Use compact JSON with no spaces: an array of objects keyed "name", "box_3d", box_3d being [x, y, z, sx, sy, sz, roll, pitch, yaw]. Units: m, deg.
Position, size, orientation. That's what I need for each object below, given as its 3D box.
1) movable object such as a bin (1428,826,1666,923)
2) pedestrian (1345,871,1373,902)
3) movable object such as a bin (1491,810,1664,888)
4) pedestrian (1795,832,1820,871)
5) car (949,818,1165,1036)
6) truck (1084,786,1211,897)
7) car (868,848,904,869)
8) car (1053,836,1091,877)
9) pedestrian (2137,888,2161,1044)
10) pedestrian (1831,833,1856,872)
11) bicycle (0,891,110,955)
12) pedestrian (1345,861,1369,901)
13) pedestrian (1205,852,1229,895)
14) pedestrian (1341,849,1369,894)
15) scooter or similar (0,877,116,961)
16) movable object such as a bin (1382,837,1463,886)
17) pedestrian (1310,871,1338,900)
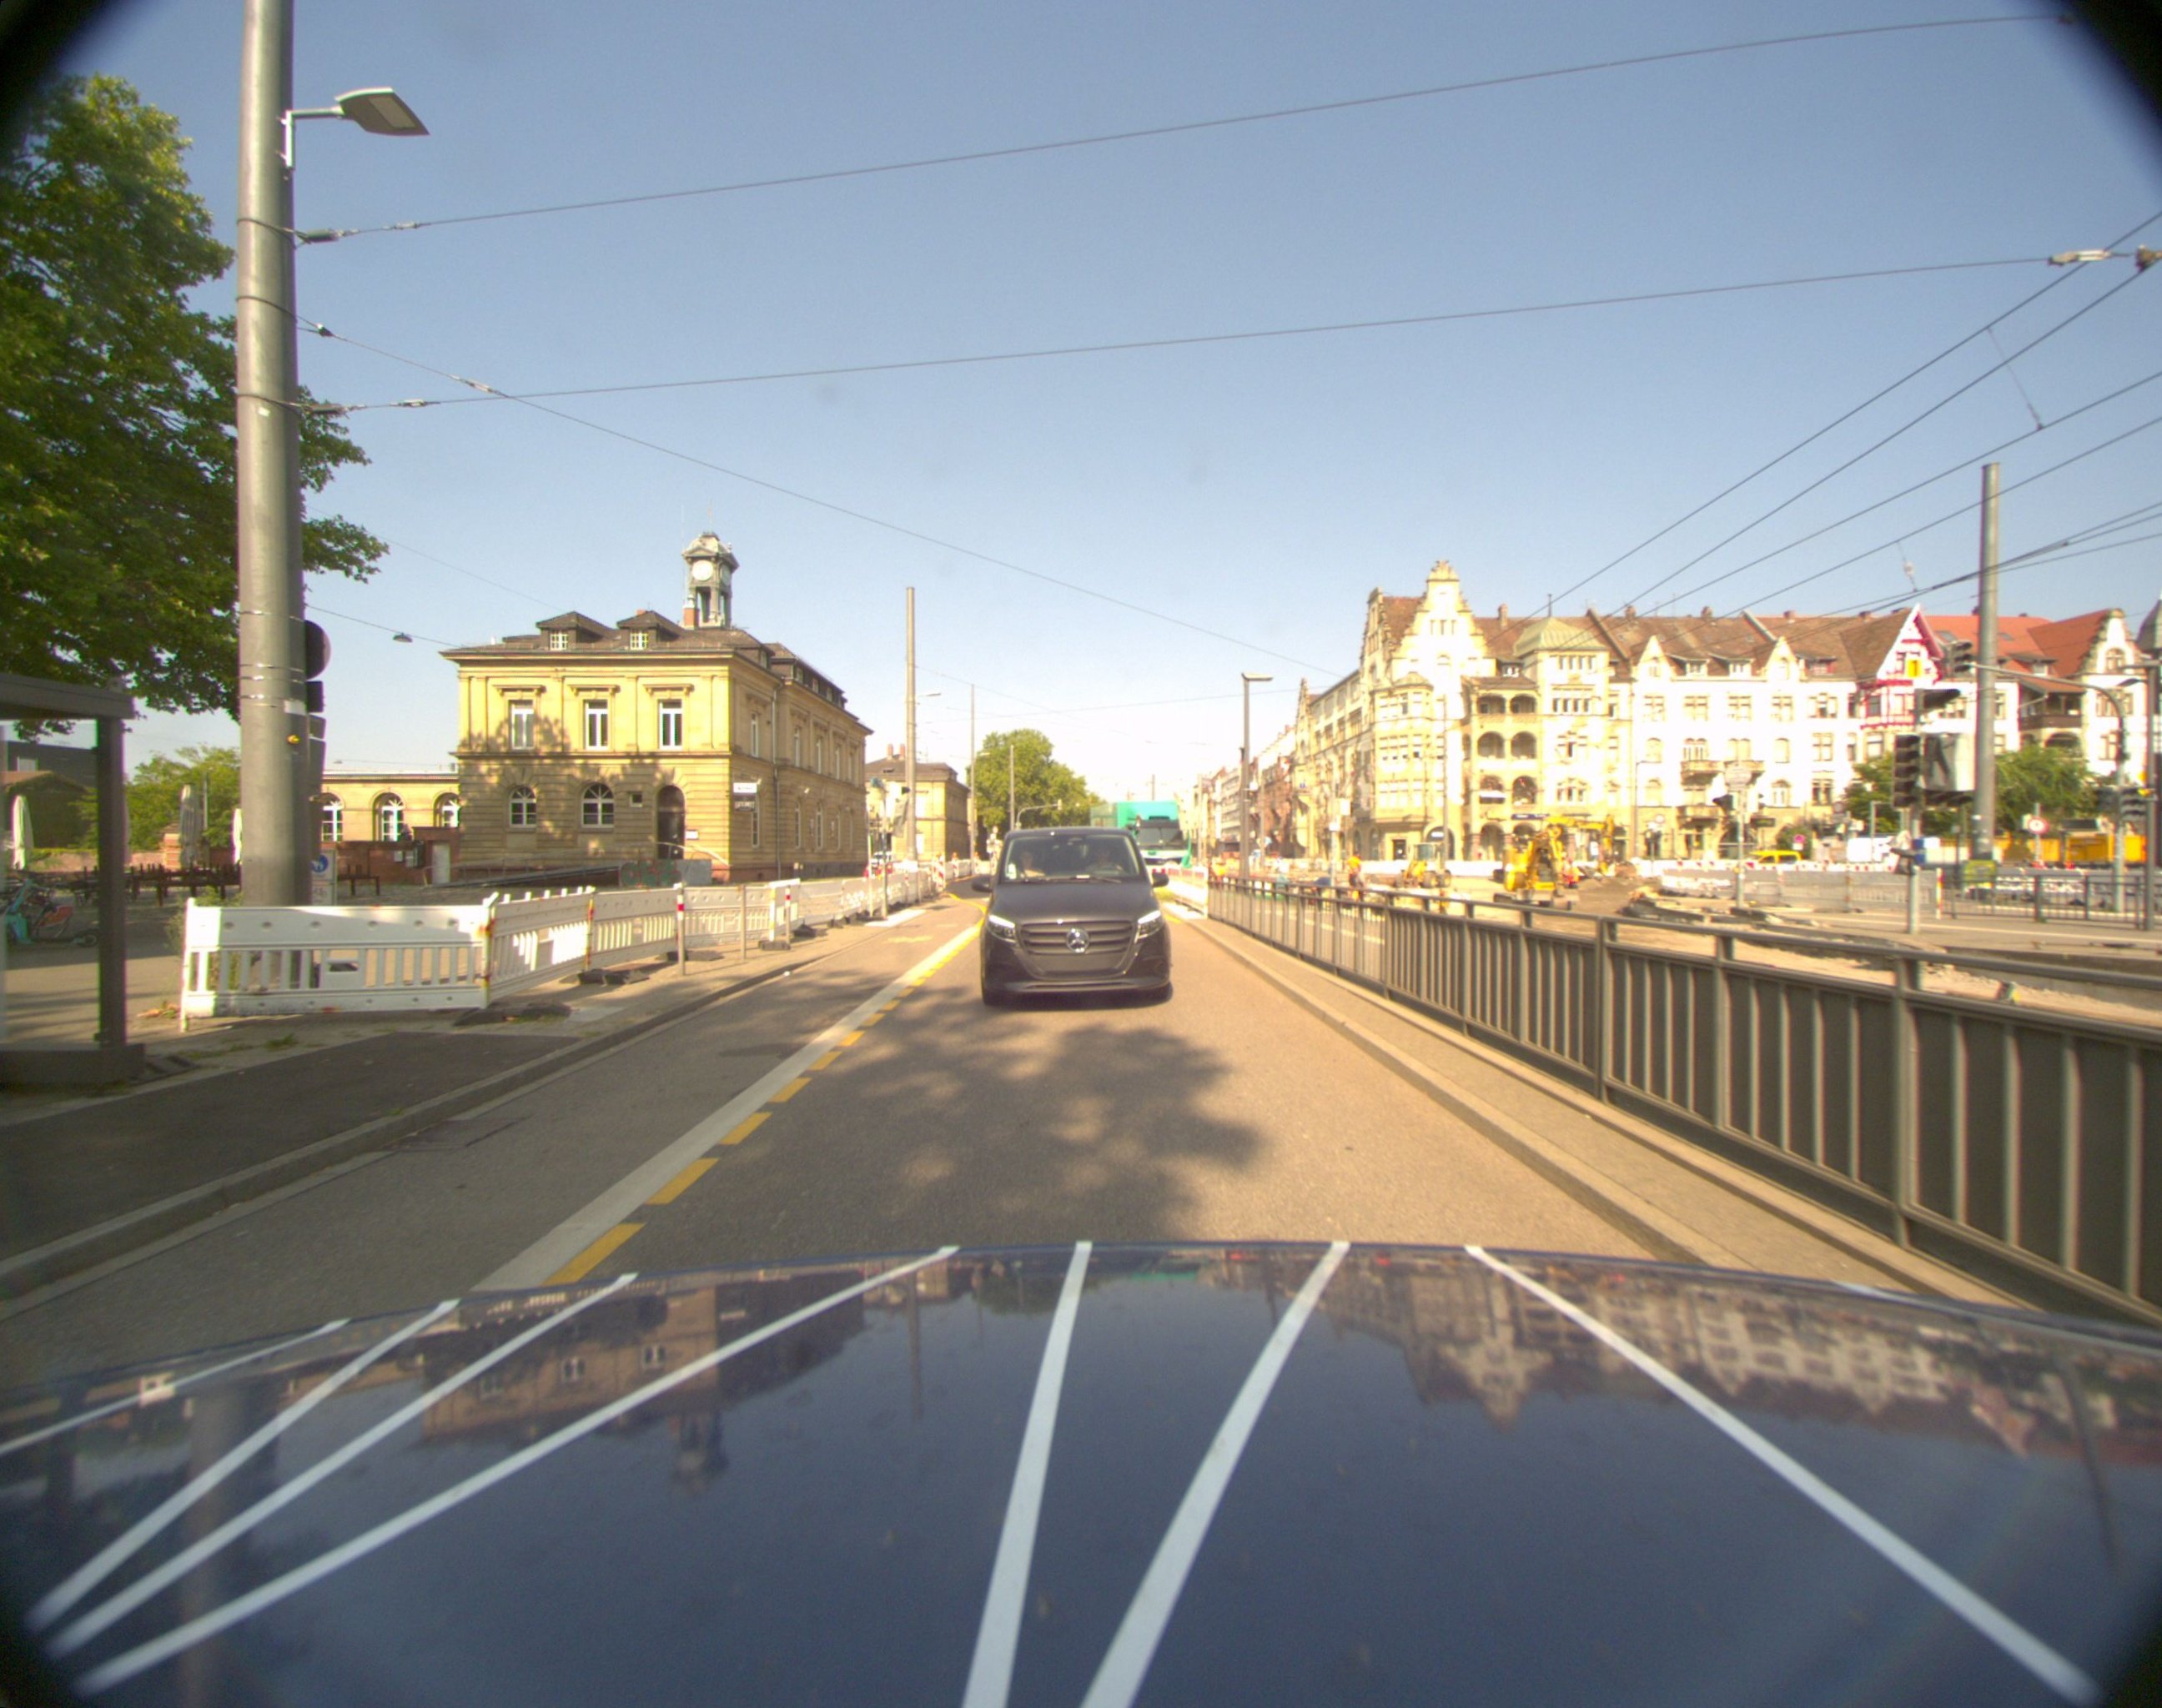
[{"name":"movable object such as a bin","box_3d":[16.514,0.557,27.982,3.622,2.941,8.474,-1,1,1]},{"name":"pedestrian","box_3d":[9.196,1.066,25.143,0.512,0.982,0.934,0,0,-5]},{"name":"movable object such as a bin","box_3d":[29.459,-0.373,45.665,7.367,4.323,4.973,0,2,14]},{"name":"pedestrian","box_3d":[38.539,-0.132,40.316,0.900,2.053,0.668,-1,1,-23]},{"name":"car","box_3d":[-0.194,0.634,8.892,1.853,1.875,4.178,-3,1,0]},{"name":"truck","box_3d":[2.413,-0.425,31.181,2.802,3.889,8.410,-2,0,-11]},{"name":"car","box_3d":[-18.613,0.476,72.771,1.907,1.772,4.229,1,-2,6]},{"name":"car","box_3d":[-0.601,0.117,47.972,2.213,2.410,7.197,0,1,-1]},{"name":"pedestrian","box_3d":[11.879,1.210,7.986,0.667,1.653,0.773,1,0,34]},{"name":"pedestrian","box_3d":[39.386,-0.094,39.263,0.668,2.002,0.829,0,1,24]},{"name":"bicycle","box_3d":[-17.539,1.136,12.810,0.493,0.993,1.815,0,-2,-18]},{"name":"pedestrian","box_3d":[11.049,1.076,30.401,0.703,1.557,0.556,0,0,-16]},{"name":"pedestrian","box_3d":[5.037,0.703,28.111,0.762,1.557,0.691,0,0,0]},{"name":"pedestrian","box_3d":[9.540,0.591,26.490,0.817,1.557,0.557,0,0,10]},{"name":"scooter or similar","box_3d":[-16.191,0.986,11.954,0.426,1.221,1.174,0,0,8]},{"name":"movable object such as a bin","box_3d":[20.729,0.384,46.088,4.826,2.818,2.442,0,1,-37]},{"name":"pedestrian","box_3d":[7.875,1.021,24.633,0.820,0.920,0.513,0,0,21]}]
